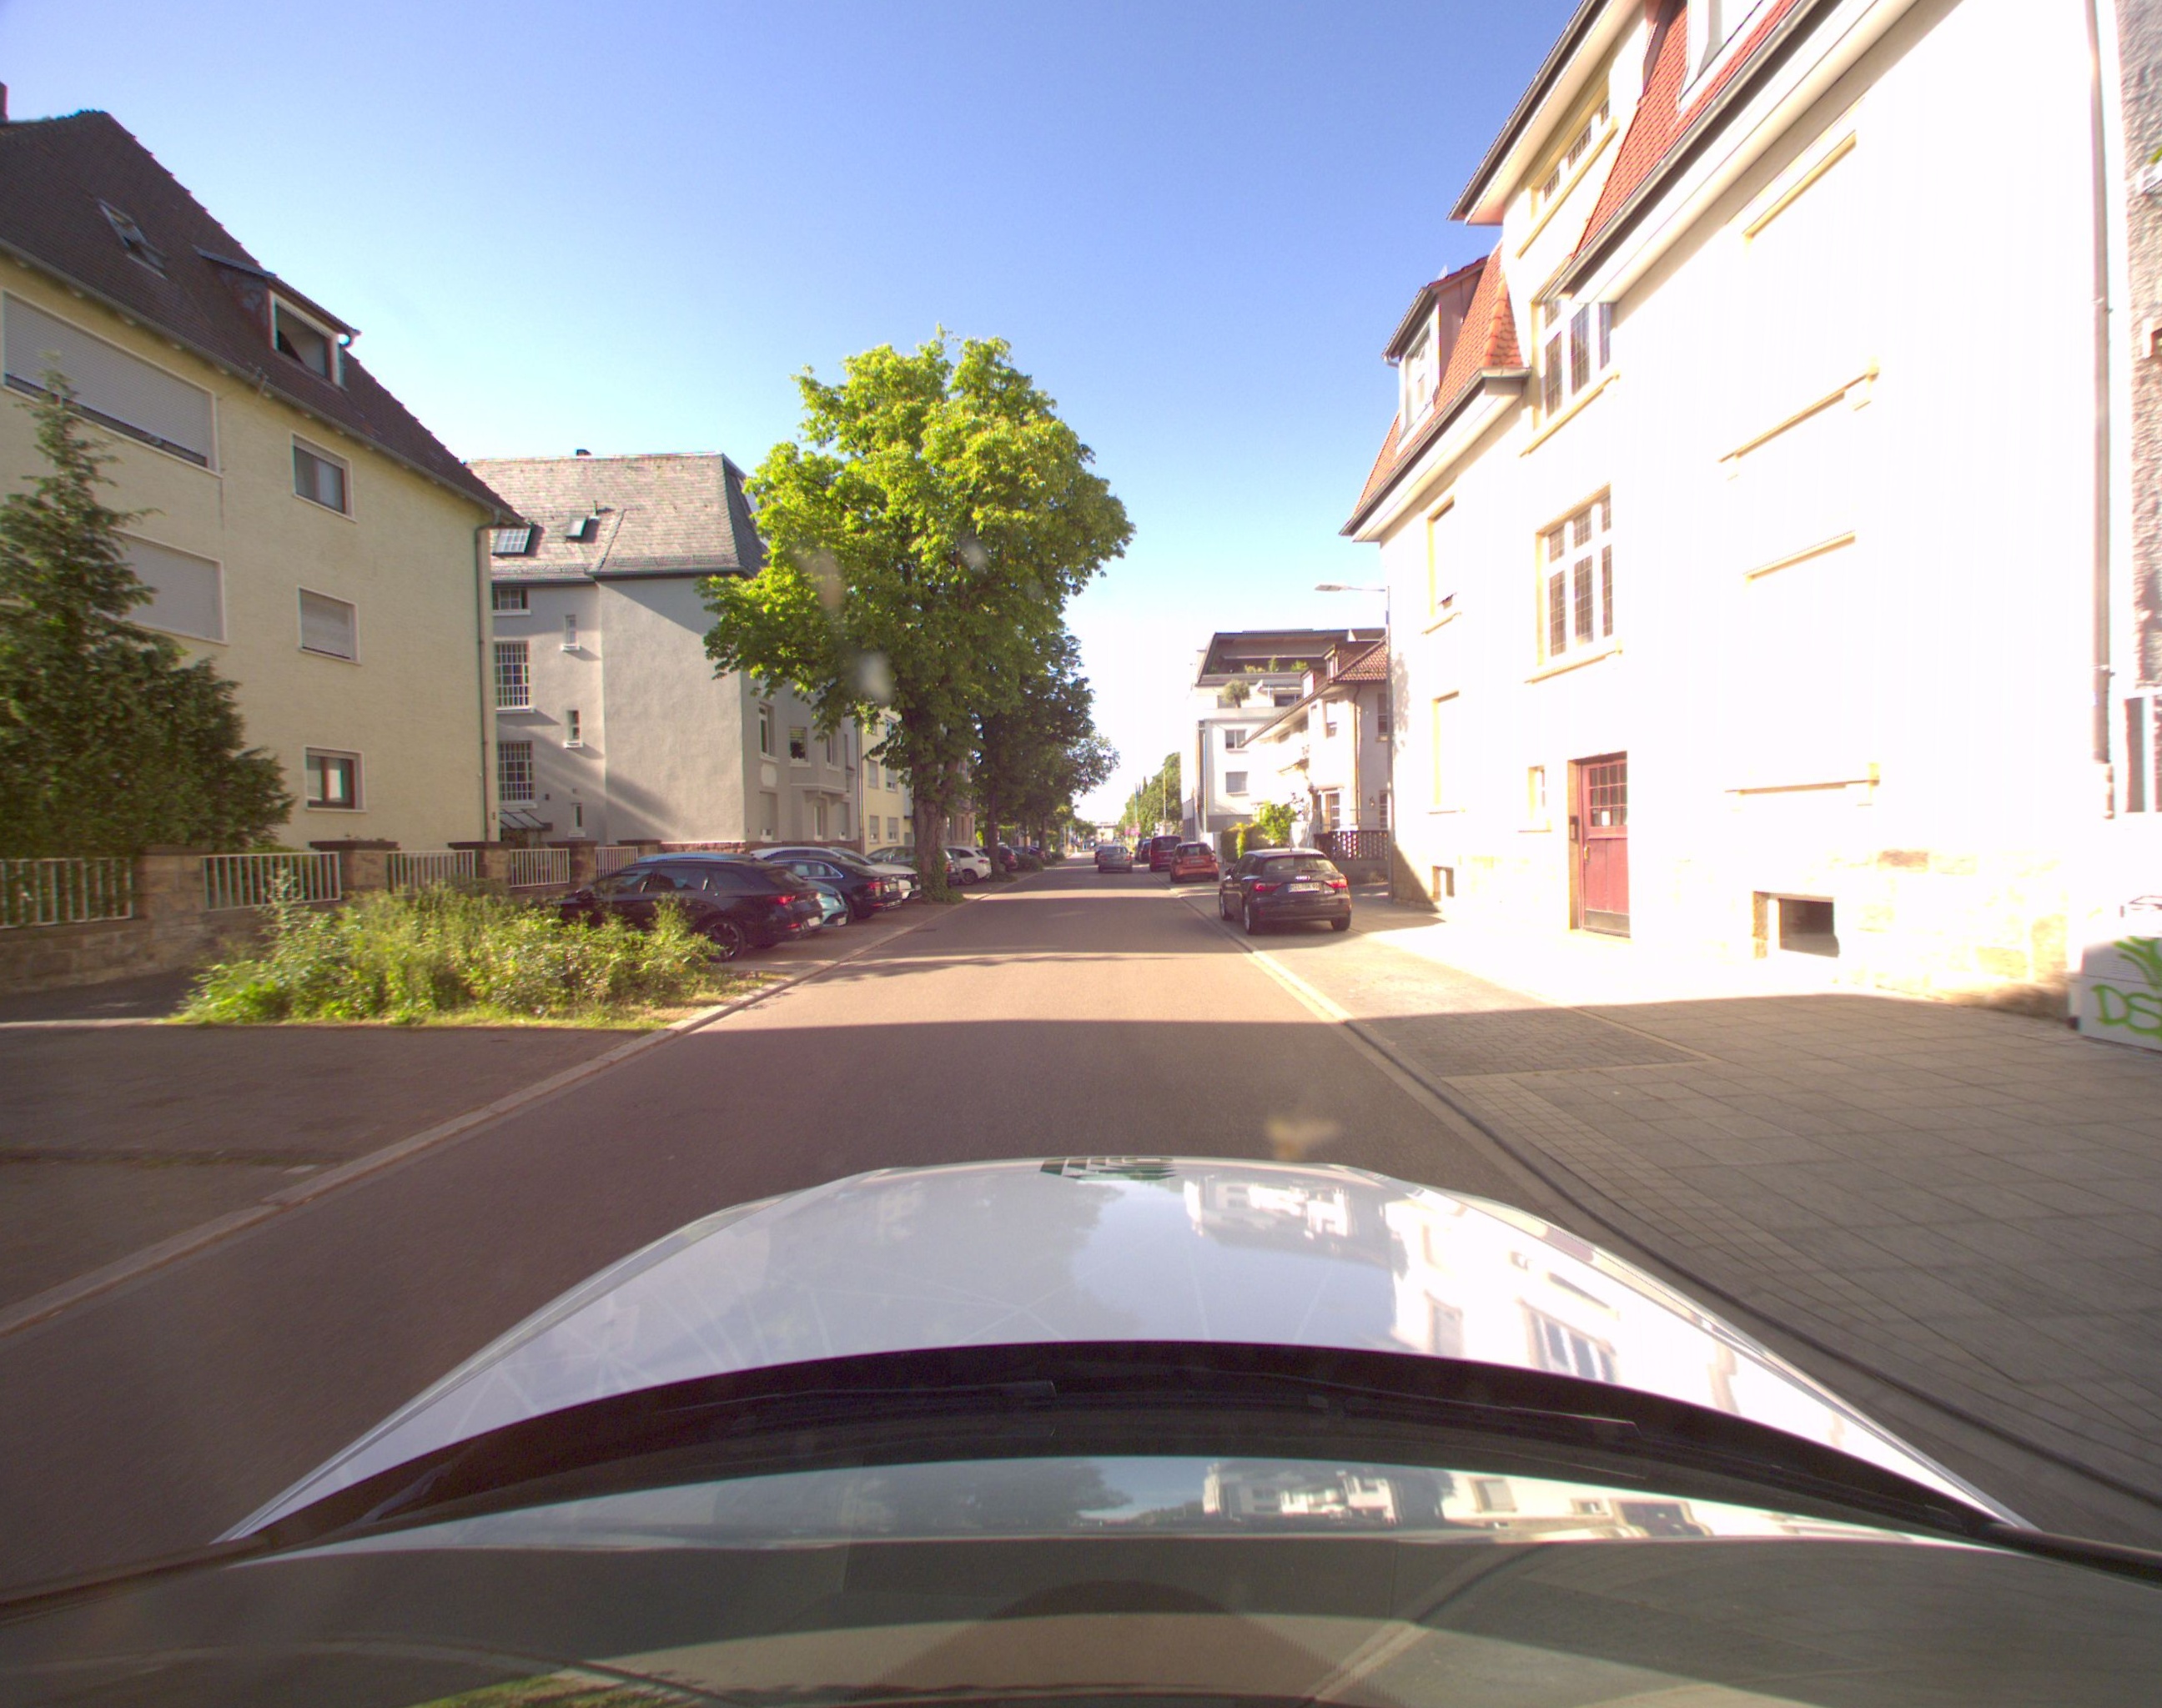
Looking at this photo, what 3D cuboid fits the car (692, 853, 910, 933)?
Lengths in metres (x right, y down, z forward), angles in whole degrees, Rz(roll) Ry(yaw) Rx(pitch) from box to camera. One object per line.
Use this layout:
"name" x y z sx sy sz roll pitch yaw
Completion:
"car" -5.868 0.785 17.396 3.973 1.468 1.697 -2 1 1

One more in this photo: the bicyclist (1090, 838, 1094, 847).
"bicyclist" 1.863 -1.909 137.165 0.677 1.509 0.655 -2 1 3

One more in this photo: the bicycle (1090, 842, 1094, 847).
"bicycle" 1.862 -1.609 137.223 0.586 0.931 1.852 -2 2 3

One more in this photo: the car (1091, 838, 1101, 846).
"car" 3.231 -2.534 176.902 1.783 1.532 3.997 -5 0 -2

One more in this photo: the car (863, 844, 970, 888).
"car" -6.014 0.416 30.081 3.499 1.575 1.773 0 1 4

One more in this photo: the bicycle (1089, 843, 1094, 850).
"bicycle" 1.492 -1.063 116.452 0.716 1.079 1.892 -1 1 2

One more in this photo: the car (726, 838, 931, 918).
"car" -6.155 0.564 20.206 4.368 1.651 1.825 -3 3 2

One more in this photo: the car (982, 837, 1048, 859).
"car" -4.633 -0.431 57.764 4.459 1.479 1.868 0 0 0

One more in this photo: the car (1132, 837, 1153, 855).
"car" 5.327 -0.670 70.902 1.557 1.410 3.733 -5 0 3

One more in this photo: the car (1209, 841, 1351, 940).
"car" 3.534 0.551 15.122 1.614 1.439 3.935 -4 2 0

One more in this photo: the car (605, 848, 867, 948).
"car" -6.239 0.753 15.103 3.974 1.592 1.878 -2 1 0

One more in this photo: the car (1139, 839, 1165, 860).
"car" 5.264 -0.367 60.774 1.730 1.531 4.181 -1 1 2

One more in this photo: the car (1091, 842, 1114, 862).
"car" 1.609 -0.168 60.985 1.700 1.447 4.204 1 0 1

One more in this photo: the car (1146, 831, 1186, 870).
"car" 4.542 -0.233 44.142 1.864 1.905 5.202 -3 1 3

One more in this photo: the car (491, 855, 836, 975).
"car" -6.121 0.855 12.329 4.173 1.498 1.862 -2 1 0

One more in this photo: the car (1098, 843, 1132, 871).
"car" 1.831 0.150 43.210 1.719 1.420 3.963 1 0 3

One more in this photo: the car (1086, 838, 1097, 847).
"car" 1.979 -2.191 153.638 1.868 1.727 3.997 -2 2 -3

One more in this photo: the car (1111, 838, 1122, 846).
"car" 6.836 -2.306 155.859 1.718 1.330 3.997 -2 1 -3

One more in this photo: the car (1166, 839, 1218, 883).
"car" 4.250 0.228 31.633 1.586 1.480 3.249 -3 1 2

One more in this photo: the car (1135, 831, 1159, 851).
"car" 5.351 -1.050 66.708 1.676 1.435 4.268 -5 0 2

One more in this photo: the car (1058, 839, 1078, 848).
"car" -2.344 -1.831 148.241 3.488 1.533 1.642 -2 1 -5

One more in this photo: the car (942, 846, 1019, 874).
"car" -5.497 0.321 45.026 3.973 1.421 1.772 0 3 0

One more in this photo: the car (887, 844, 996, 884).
"car" -5.507 0.378 32.521 4.008 1.484 1.807 1 1 1

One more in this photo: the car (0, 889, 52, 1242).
"car" -6.628 0.935 2.901 3.928 1.498 1.664 0 2 3

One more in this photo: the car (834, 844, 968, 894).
"car" -5.986 0.471 27.422 3.968 1.575 1.983 0 1 4

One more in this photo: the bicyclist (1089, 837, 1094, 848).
"bicyclist" 1.481 -1.686 116.424 0.718 1.536 1.138 -1 1 2
